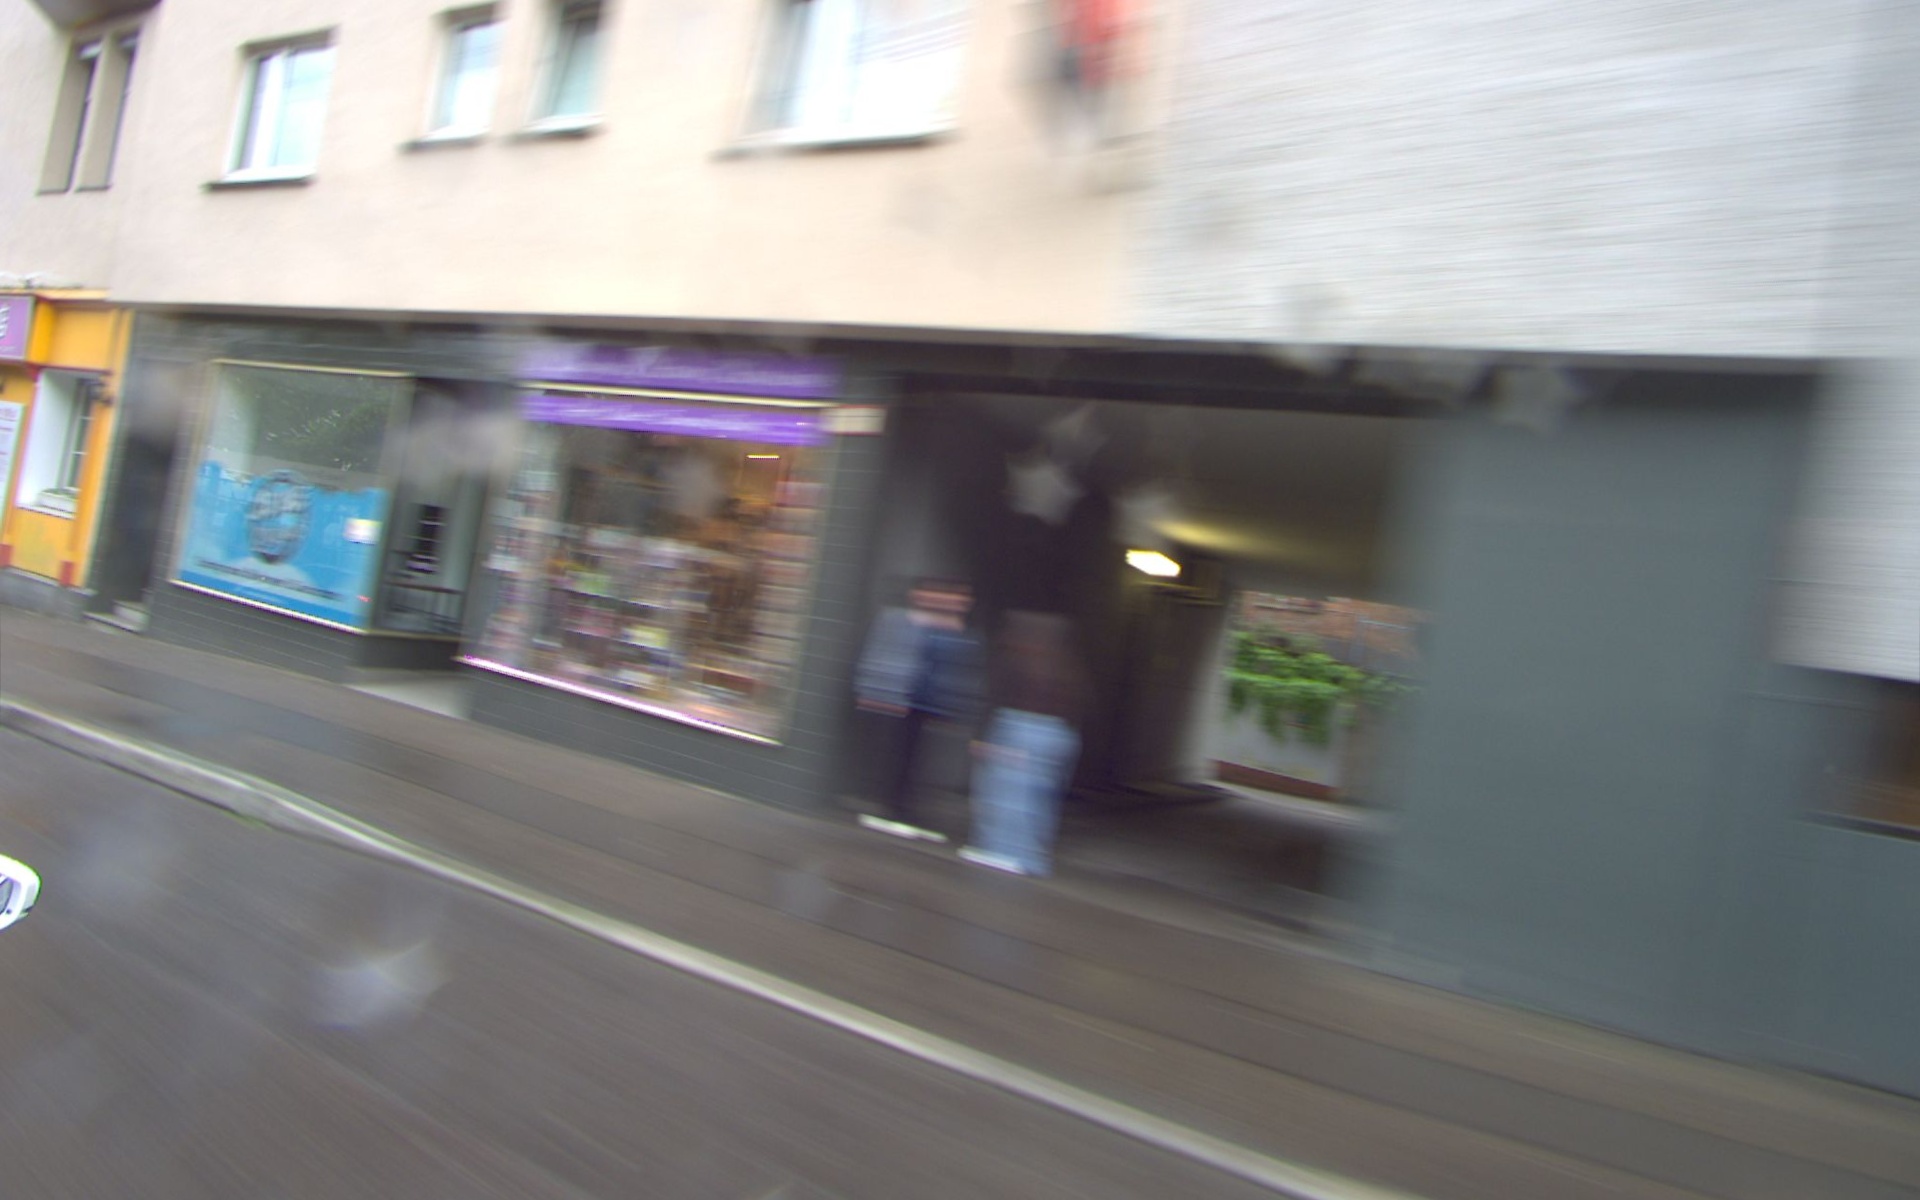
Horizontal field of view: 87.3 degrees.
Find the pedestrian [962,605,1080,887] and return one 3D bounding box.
[{"bbox_3d":[0.391,0.901,6.307,0.326,1.663,0.482,7,-2,30],"label":"pedestrian"}]

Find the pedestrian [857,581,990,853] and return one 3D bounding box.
[{"bbox_3d":[-0.245,0.784,6.869,0.508,1.738,0.462,6,-3,36],"label":"pedestrian"}]
